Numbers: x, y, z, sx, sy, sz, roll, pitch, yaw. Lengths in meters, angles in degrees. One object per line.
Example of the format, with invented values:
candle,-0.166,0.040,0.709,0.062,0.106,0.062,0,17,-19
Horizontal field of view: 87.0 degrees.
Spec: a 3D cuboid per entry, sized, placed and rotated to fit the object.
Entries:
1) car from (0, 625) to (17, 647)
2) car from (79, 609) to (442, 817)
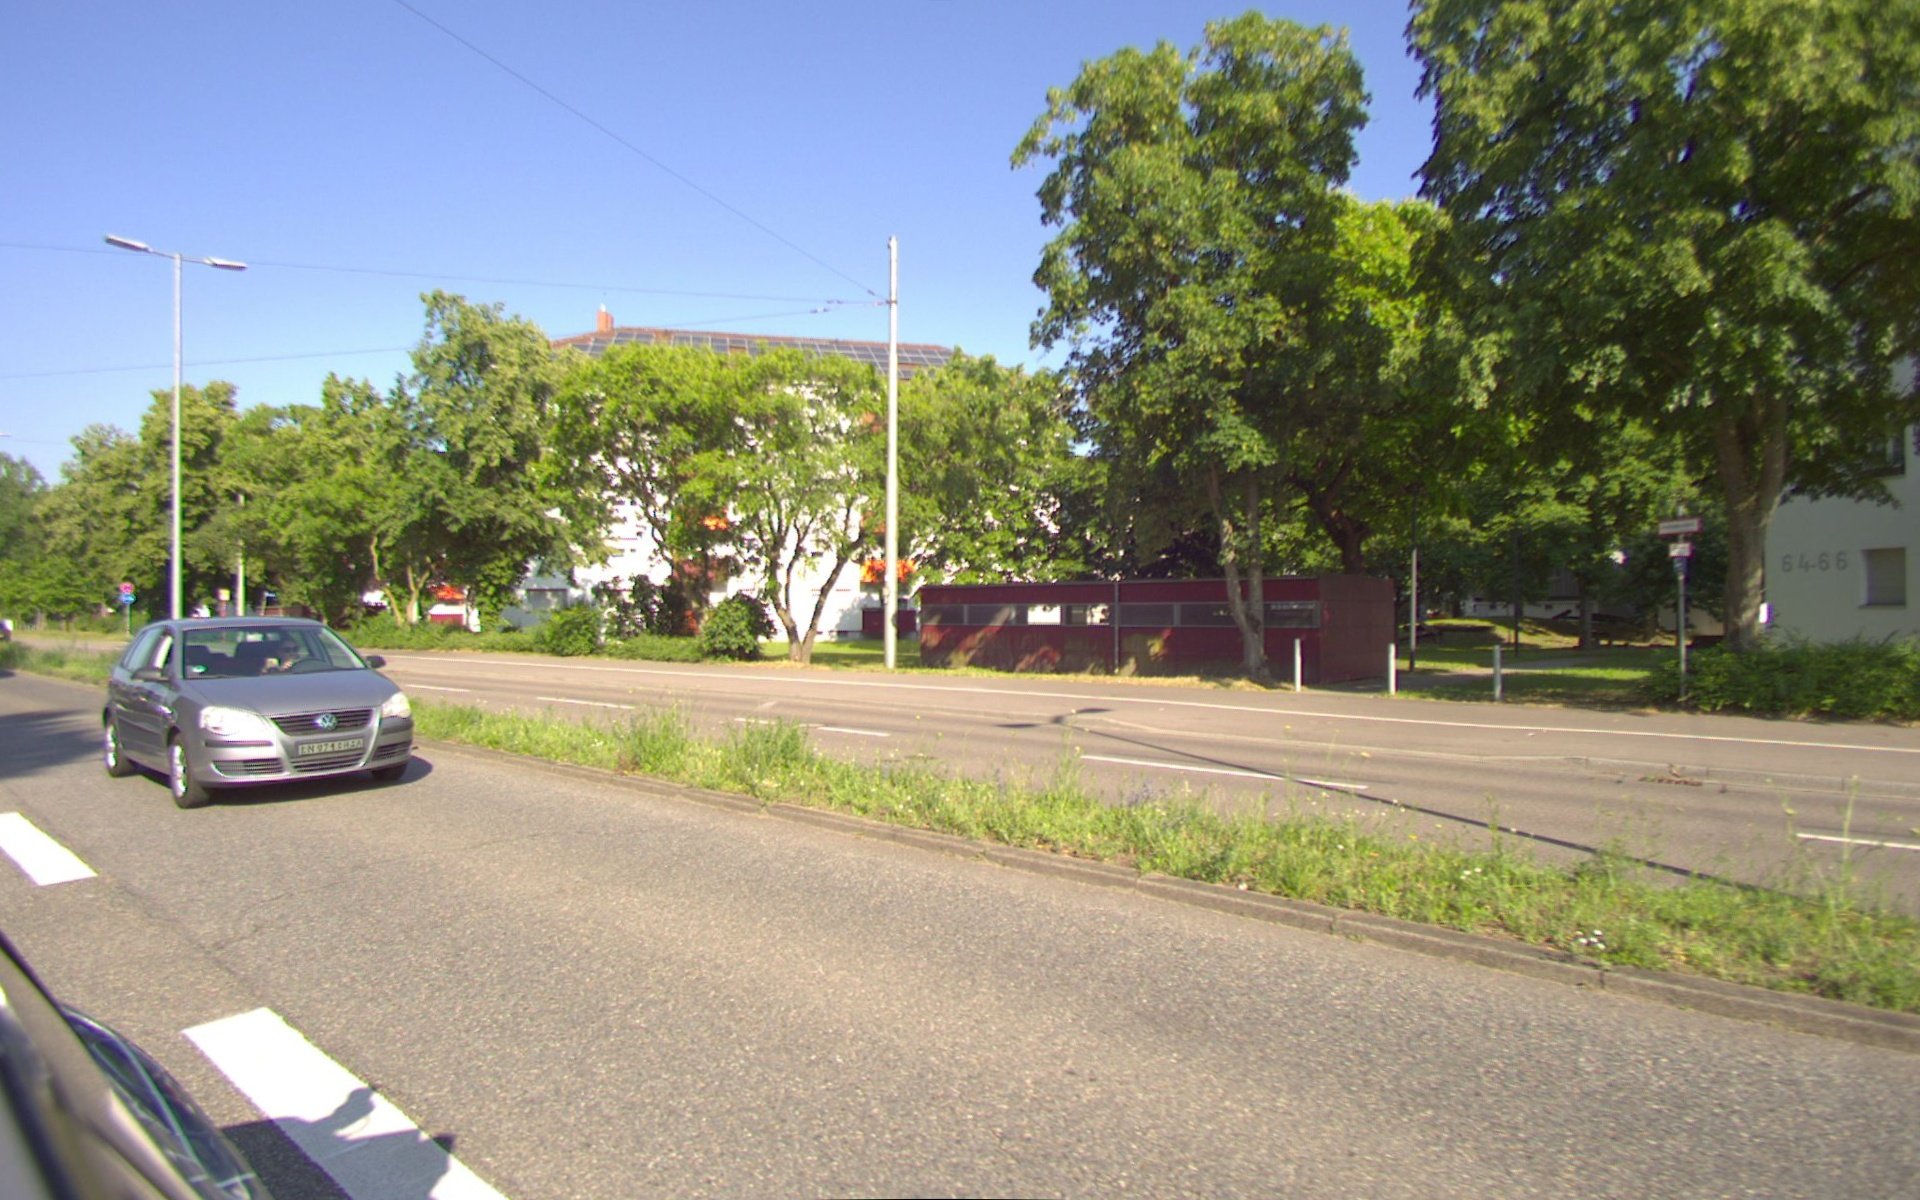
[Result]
car,-65.341,2.415,68.464,4.321,1.430,1.706,-1,-2,40
car,-6.335,0.839,9.021,3.829,1.439,1.672,-1,0,39
